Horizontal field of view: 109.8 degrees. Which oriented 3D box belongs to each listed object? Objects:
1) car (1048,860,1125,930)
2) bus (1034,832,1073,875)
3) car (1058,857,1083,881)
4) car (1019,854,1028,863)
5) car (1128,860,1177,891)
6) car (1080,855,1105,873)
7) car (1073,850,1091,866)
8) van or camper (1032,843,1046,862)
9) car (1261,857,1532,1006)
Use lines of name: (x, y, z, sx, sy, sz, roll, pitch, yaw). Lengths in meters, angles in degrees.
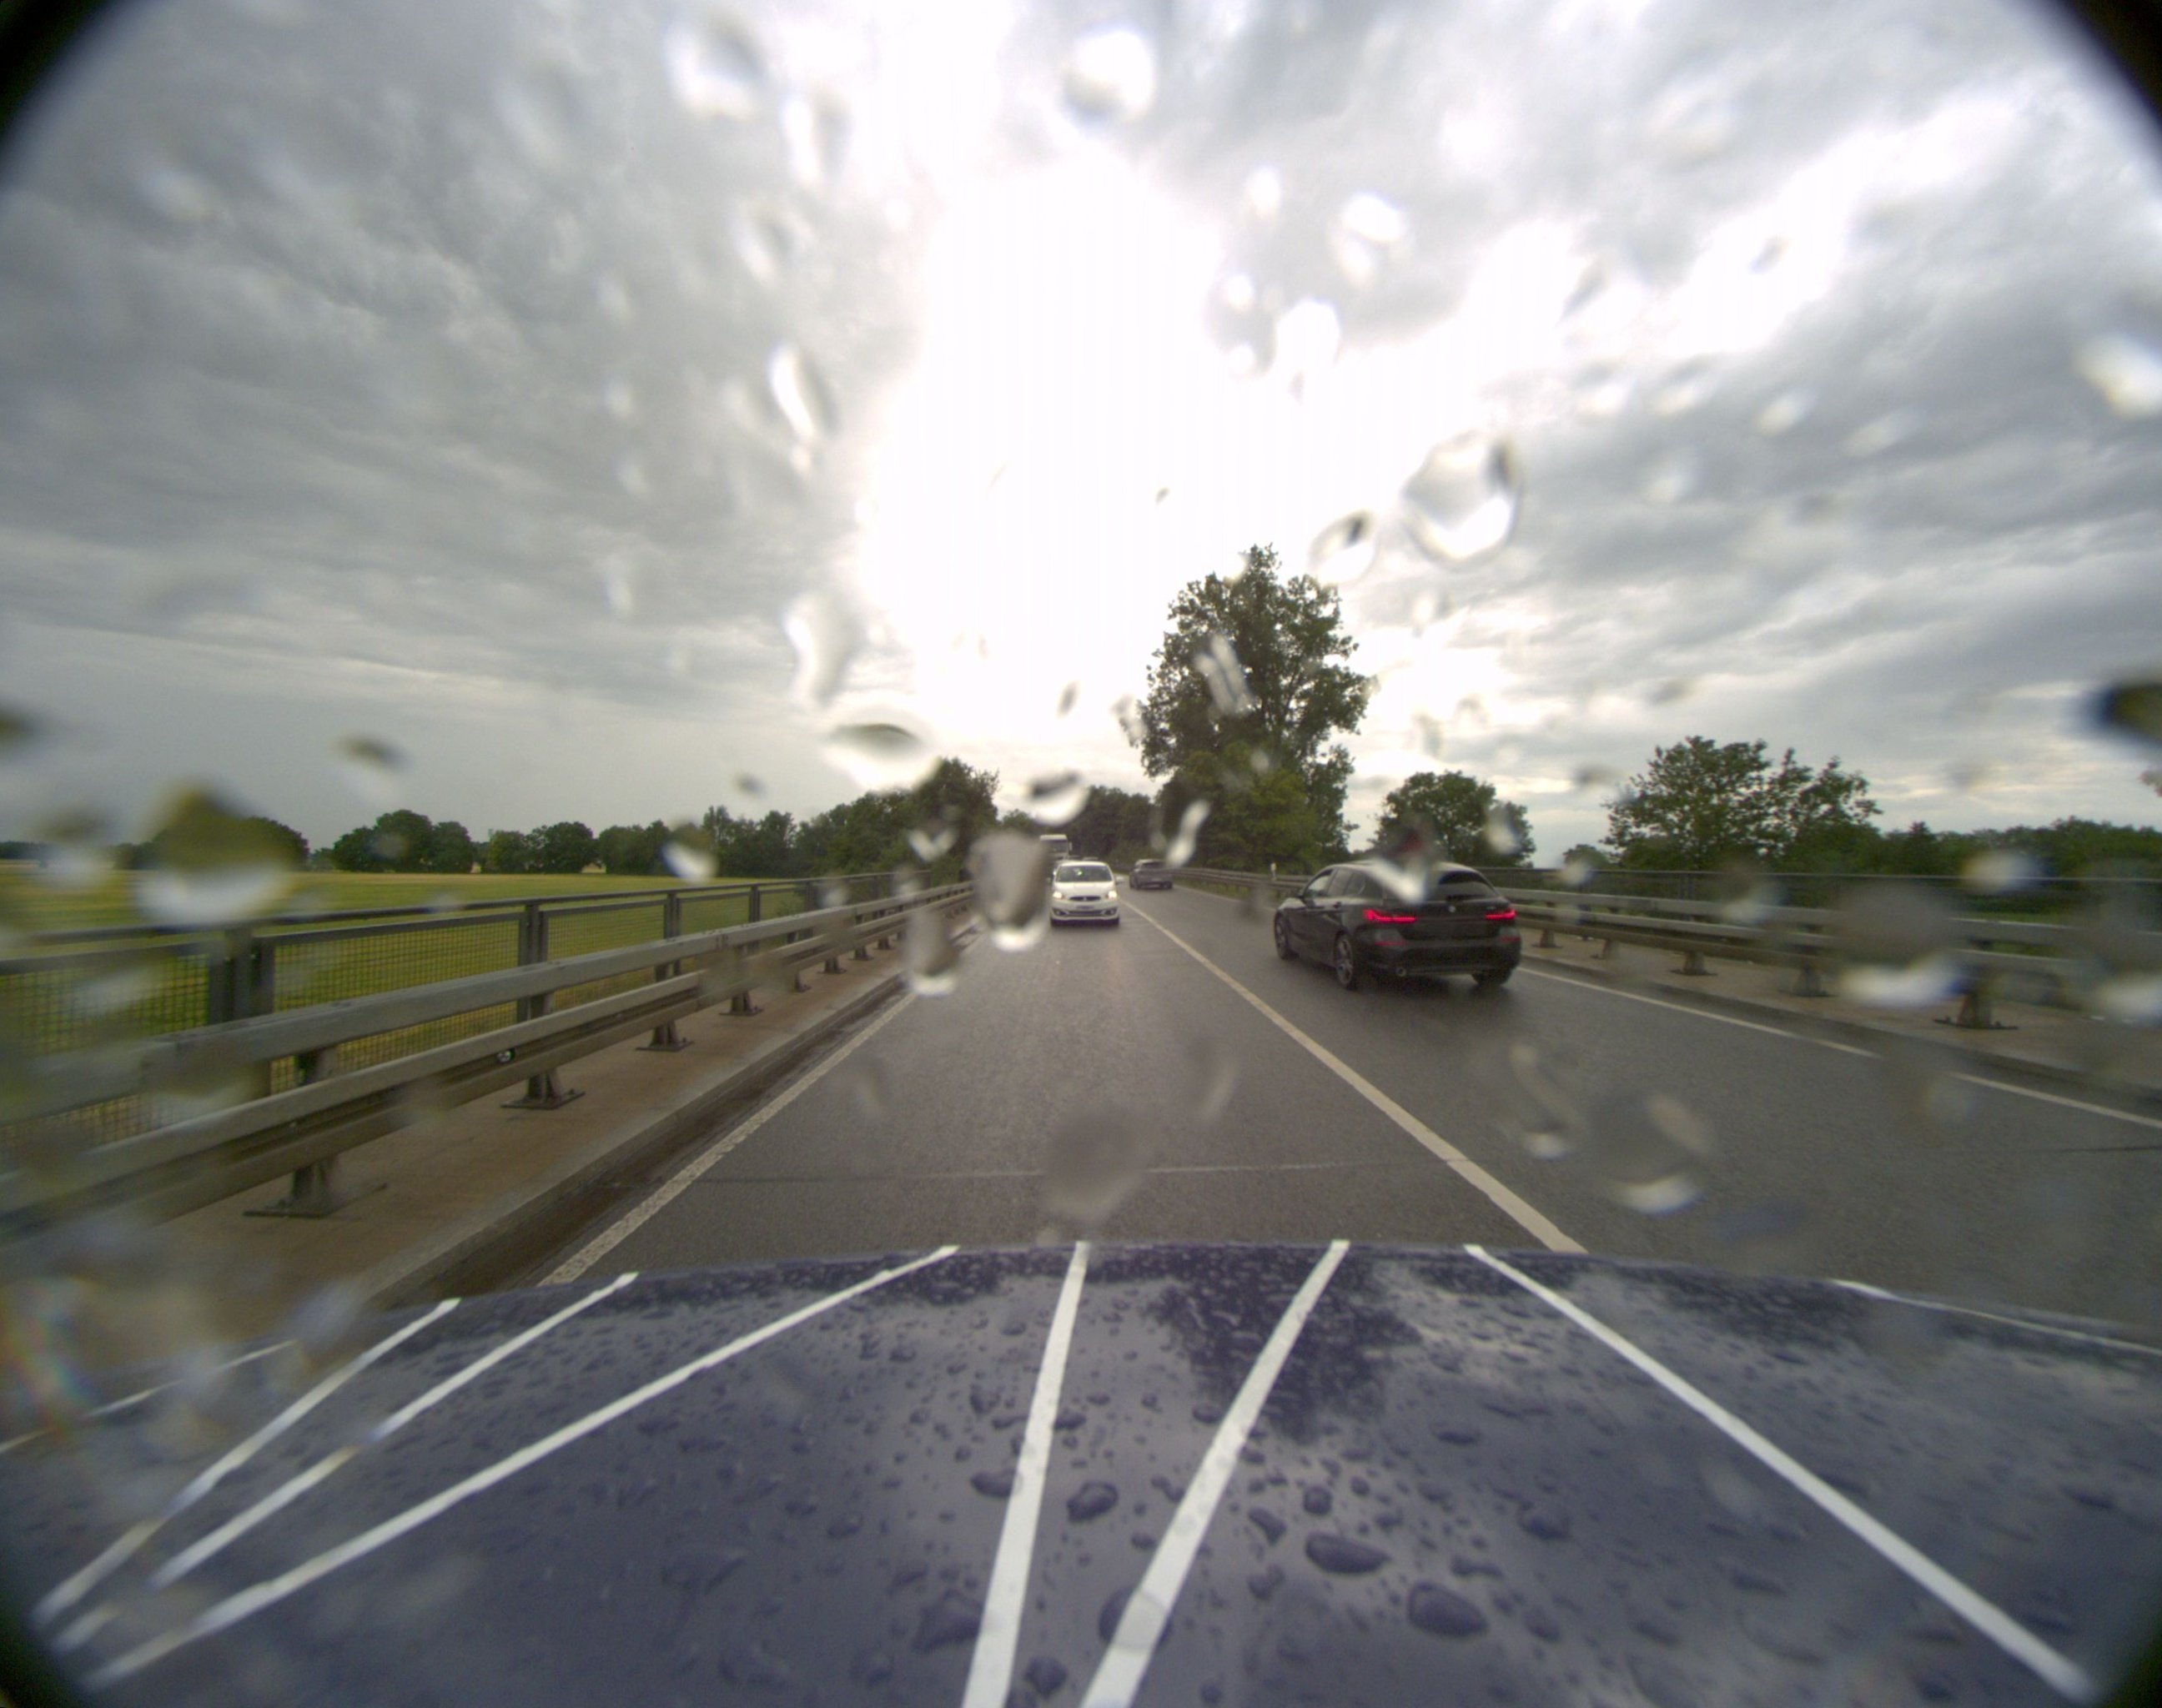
car: (0.083, 0.948, 19.216, 1.701, 1.471, 4.062, -1, 1, -1)
bus: (-2.360, -0.067, 68.359, 3.063, 3.405, 13.637, -1, 0, -1)
car: (-0.676, 0.927, 46.953, 1.476, 1.410, 3.428, -1, 0, -1)
car: (-9.850, 0.713, 130.244, 1.394, 1.470, 3.225, 0, 1, -6)
car: (3.482, 1.032, 37.911, 1.840, 1.434, 4.102, -2, 0, -3)
car: (1.041, 0.939, 70.547, 1.905, 1.532, 4.021, -2, 0, -5)
car: (0.073, 0.476, 84.735, 1.846, 1.690, 4.388, -2, 0, -2)
van or camper: (-7.670, -0.299, 138.921, 2.000, 3.211, 5.579, -2, 1, -7)
car: (3.678, 0.793, 9.781, 1.701, 1.391, 4.331, -1, 1, 1)
